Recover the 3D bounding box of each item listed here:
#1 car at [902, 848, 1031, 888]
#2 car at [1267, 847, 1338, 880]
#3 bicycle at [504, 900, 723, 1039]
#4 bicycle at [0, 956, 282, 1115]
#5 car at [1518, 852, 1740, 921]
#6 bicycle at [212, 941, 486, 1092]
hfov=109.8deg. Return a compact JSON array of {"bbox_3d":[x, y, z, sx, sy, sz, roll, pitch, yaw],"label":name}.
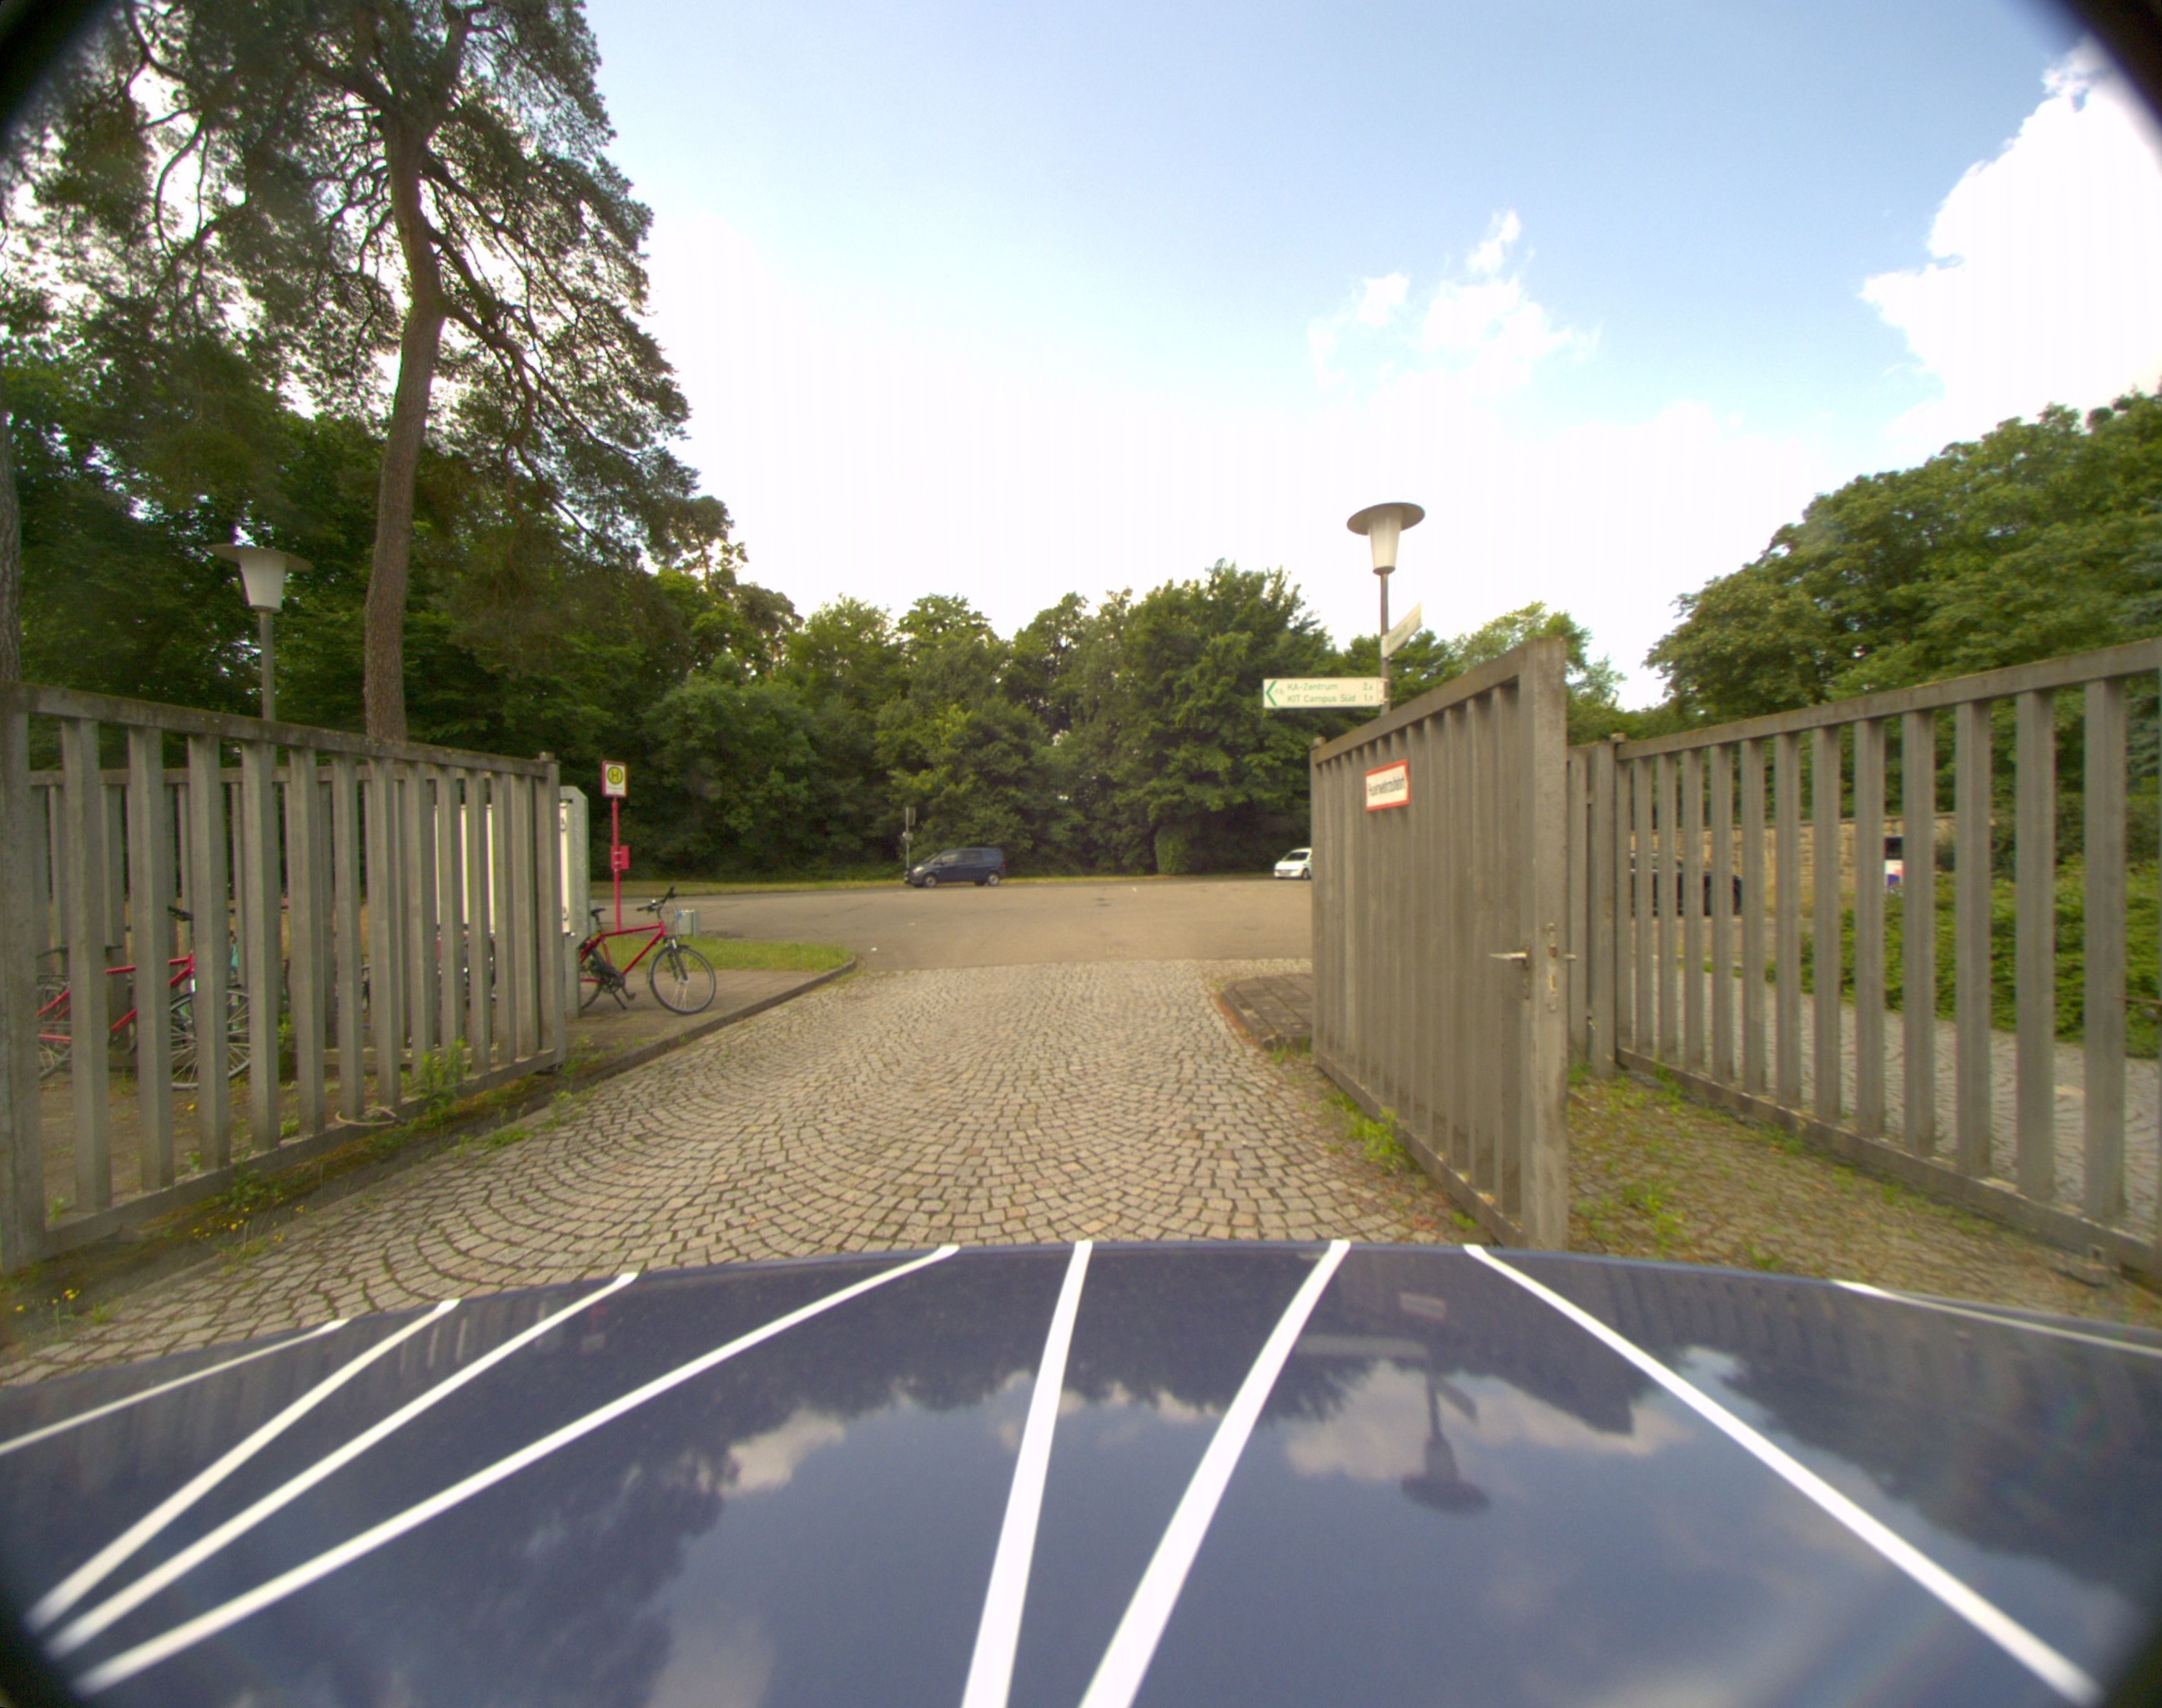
[{"bbox_3d":[-5.604,0.626,37.492,5.956,1.825,1.995,-1,1,-29],"label":"car"},{"bbox_3d":[12.824,0.485,43.875,4.157,1.749,1.862,-1,2,-38],"label":"car"},{"bbox_3d":[-4.510,1.089,7.440,1.655,1.223,0.749,0,1,-6],"label":"bicycle"},{"bbox_3d":[-6.615,1.194,5.096,1.868,0.934,0.503,0,1,-4],"label":"bicycle"},{"bbox_3d":[13.150,0.761,18.474,3.995,1.508,1.803,-1,0,7],"label":"car"},{"bbox_3d":[-5.482,1.202,5.720,1.730,1.027,0.387,0,1,2],"label":"bicycle"}]
